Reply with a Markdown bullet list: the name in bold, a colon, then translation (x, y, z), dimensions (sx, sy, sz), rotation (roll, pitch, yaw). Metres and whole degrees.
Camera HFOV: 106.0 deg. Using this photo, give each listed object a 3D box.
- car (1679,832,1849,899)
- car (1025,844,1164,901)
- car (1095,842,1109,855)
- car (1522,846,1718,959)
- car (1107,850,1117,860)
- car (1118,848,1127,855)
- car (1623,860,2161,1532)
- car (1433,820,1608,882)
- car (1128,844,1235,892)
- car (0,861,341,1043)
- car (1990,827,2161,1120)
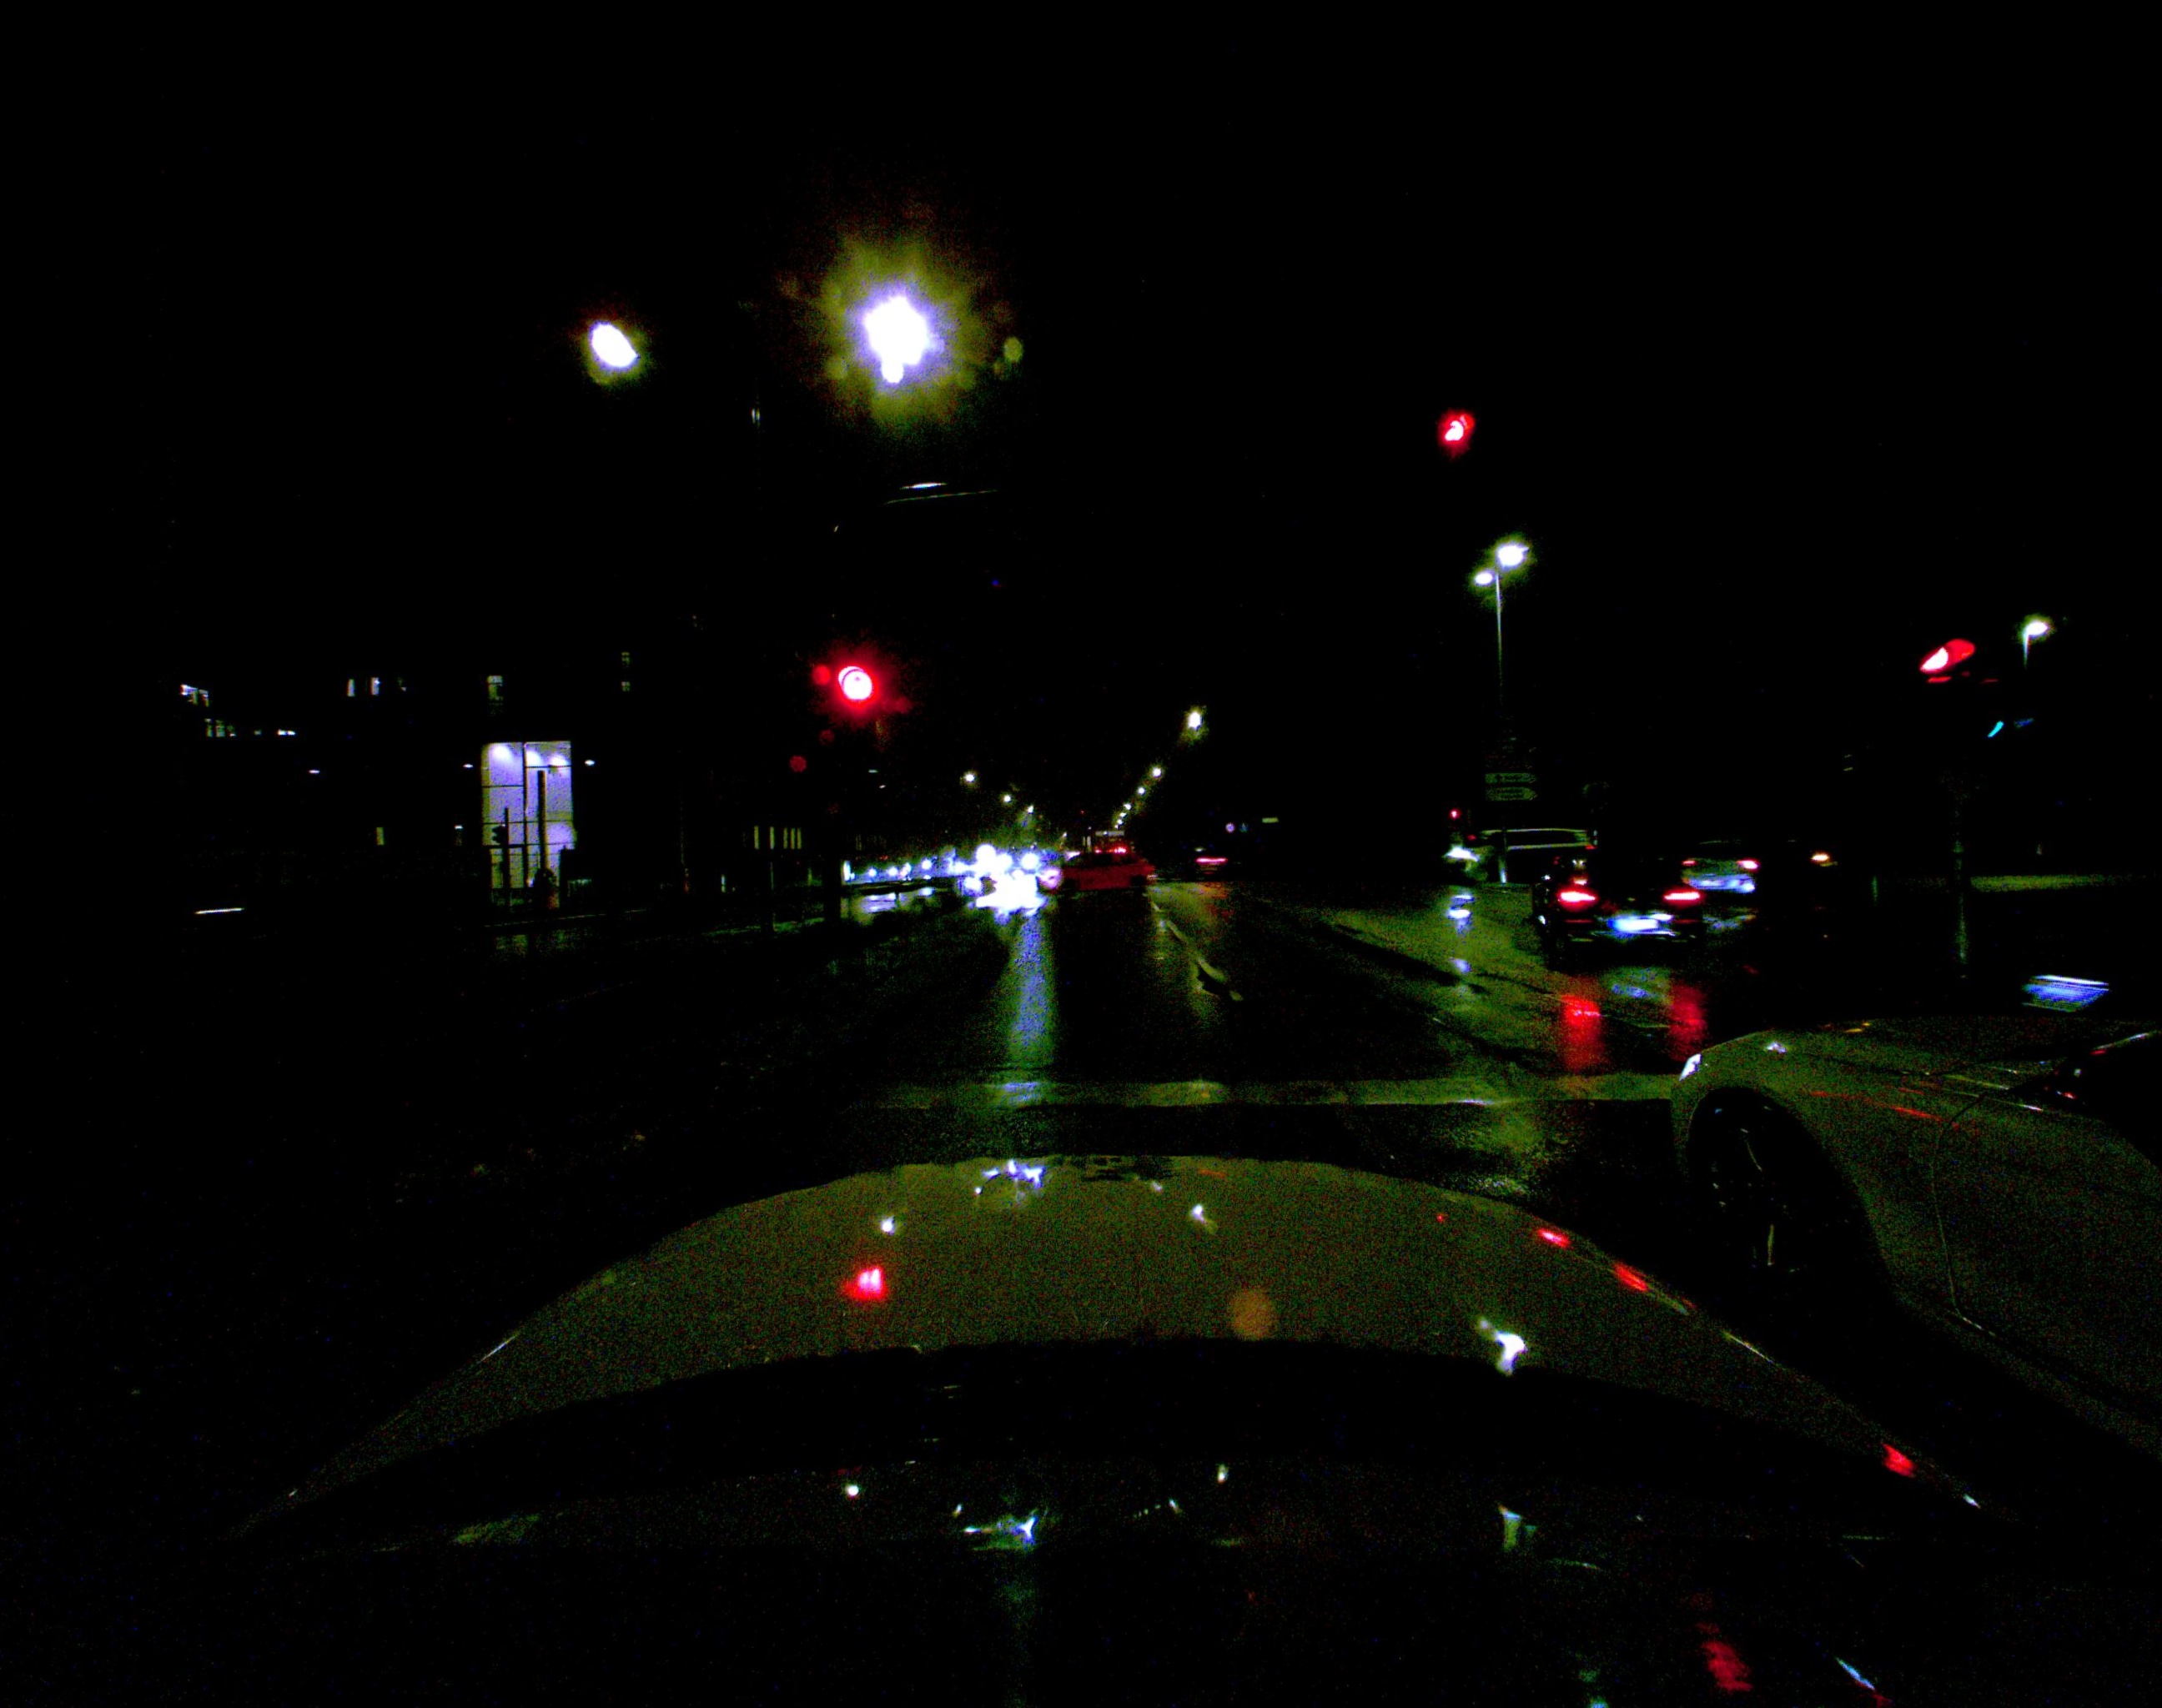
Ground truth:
- **car**: translation (16.118, 0.253, 19.225), dimensions (3.597, 1.459, 1.626), rotation (0, -1, -23)
- **car**: translation (0.428, 0.557, 26.680), dimensions (4.083, 1.588, 1.899), rotation (-3, 0, -21)
- **car**: translation (3.402, -0.903, 132.326), dimensions (1.988, 2.014, 4.629), rotation (0, -1, -1)
- **car**: translation (8.029, 0.587, 12.571), dimensions (1.736, 1.390, 4.592), rotation (0, 0, 23)
- **car**: translation (6.159, 0.202, 161.988), dimensions (1.784, 1.874, 4.628), rotation (0, -1, 1)
- **car**: translation (10.367, -0.590, 203.390), dimensions (1.986, 1.759, 4.001), rotation (0, -1, 2)
- **car**: translation (3.113, 0.717, 1.296), dimensions (1.710, 1.404, 4.351), rotation (0, -1, 2)
- **car**: translation (15.449, -0.105, 28.836), dimensions (5.071, 1.984, 2.002), rotation (-2, 0, 3)
- **car**: translation (4.767, 0.659, 39.287), dimensions (2.153, 2.145, 4.869), rotation (0, -1, -42)
- **car**: translation (-11.169, 0.960, 8.737), dimensions (1.841, 1.749, 4.522), rotation (-1, -1, 13)
- **car**: translation (6.253, 0.557, 2.868), dimensions (1.748, 1.431, 3.751), rotation (-1, 0, -6)
